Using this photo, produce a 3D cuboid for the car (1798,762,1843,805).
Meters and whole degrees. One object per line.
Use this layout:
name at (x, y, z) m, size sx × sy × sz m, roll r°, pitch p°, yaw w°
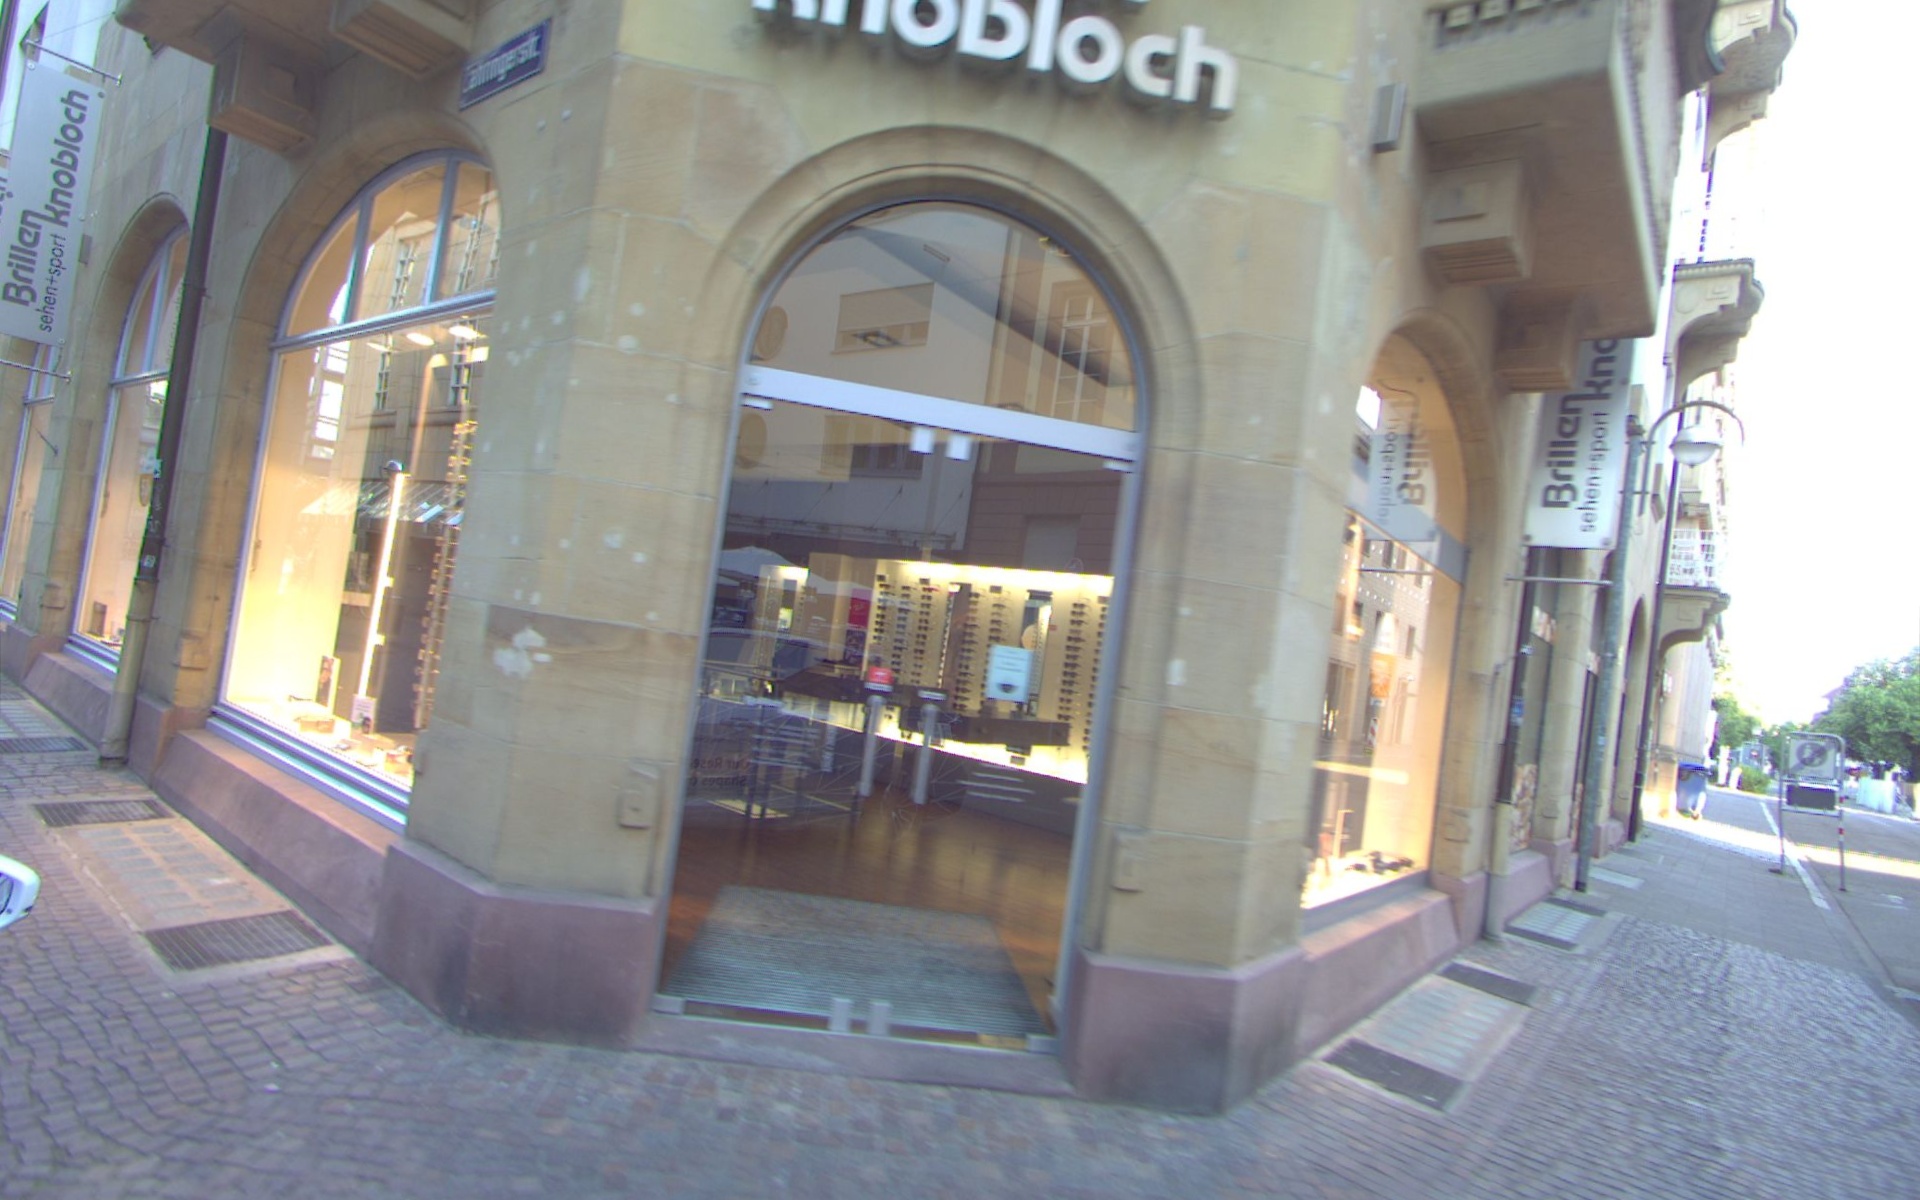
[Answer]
car at (55.522, 11.831, 64.881) m, size 1.914 × 2.330 × 3.984 m, roll 6°, pitch -3°, yaw 42°
